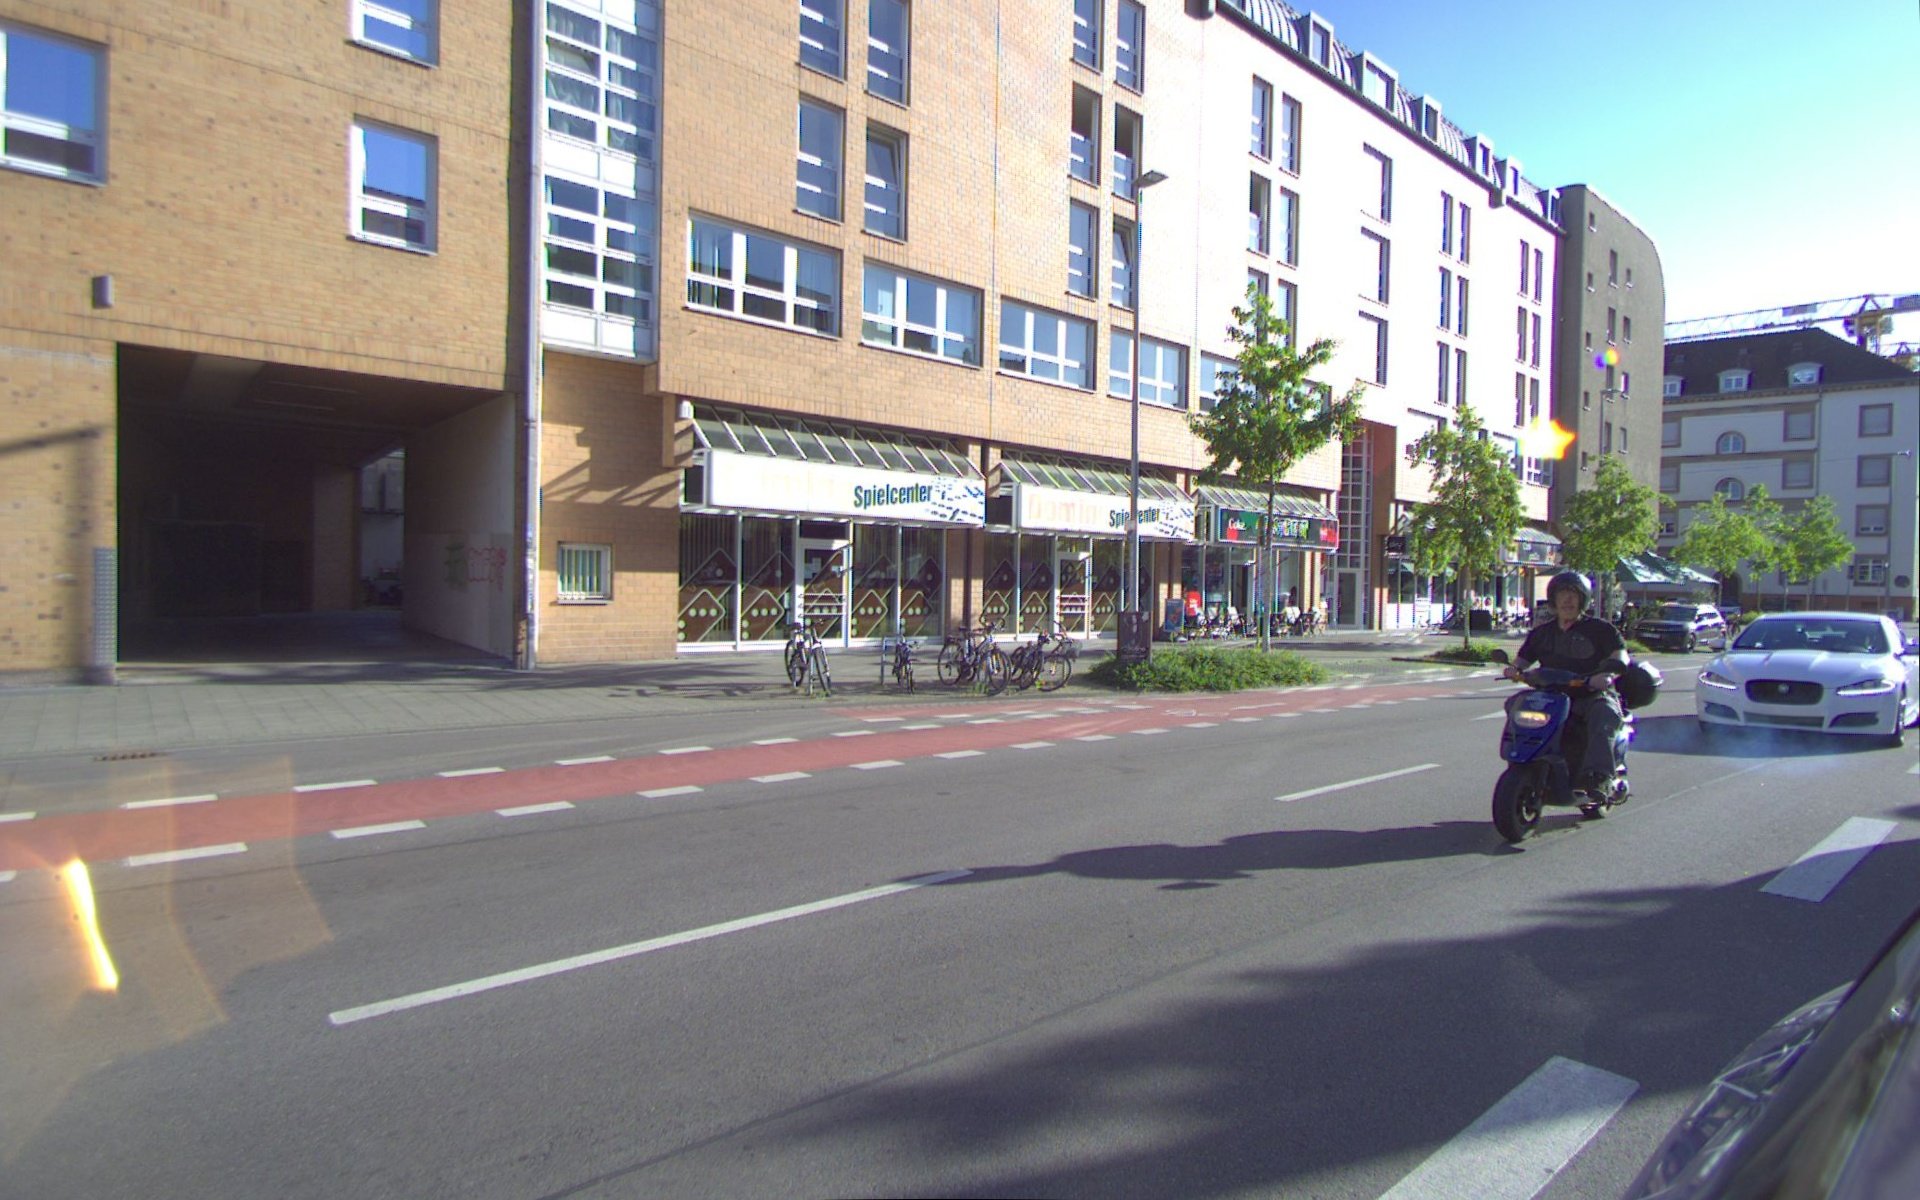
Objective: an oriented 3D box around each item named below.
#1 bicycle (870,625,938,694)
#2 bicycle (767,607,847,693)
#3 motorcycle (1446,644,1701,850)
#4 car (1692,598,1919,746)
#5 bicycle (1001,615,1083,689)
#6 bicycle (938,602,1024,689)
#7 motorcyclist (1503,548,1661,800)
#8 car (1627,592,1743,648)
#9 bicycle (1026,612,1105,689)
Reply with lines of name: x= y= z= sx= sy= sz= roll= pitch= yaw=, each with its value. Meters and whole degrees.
bicycle: x=-0.882 y=0.883 z=15.503 sx=0.359 sy=0.842 sz=1.779 roll=0 pitch=3 yaw=-26
bicycle: x=-2.301 y=0.706 z=15.031 sx=0.423 sy=1.089 sz=1.776 roll=0 pitch=4 yaw=-35
motorcycle: x=4.261 y=0.897 z=6.932 sx=2.334 sy=1.064 sz=0.805 roll=-1 pitch=1 yaw=-41
car: x=10.592 y=0.726 z=12.339 sx=4.376 sy=1.448 sz=1.806 roll=0 pitch=1 yaw=-42
bicycle: x=1.302 y=0.809 z=16.459 sx=0.440 sy=0.997 sz=1.843 roll=0 pitch=3 yaw=-26
bicycle: x=0.297 y=0.678 z=15.943 sx=0.553 sy=1.177 sz=1.843 roll=0 pitch=3 yaw=-26
motorcyclist: x=4.230 y=0.466 z=6.899 sx=0.520 sy=1.600 sz=0.797 roll=0 pitch=0 yaw=-41
car: x=24.423 y=0.645 z=34.078 sx=3.921 sy=1.659 sz=1.782 roll=1 pitch=3 yaw=-33
bicycle: x=1.708 y=0.796 z=16.676 sx=0.343 sy=1.069 sz=1.843 roll=0 pitch=3 yaw=-26
